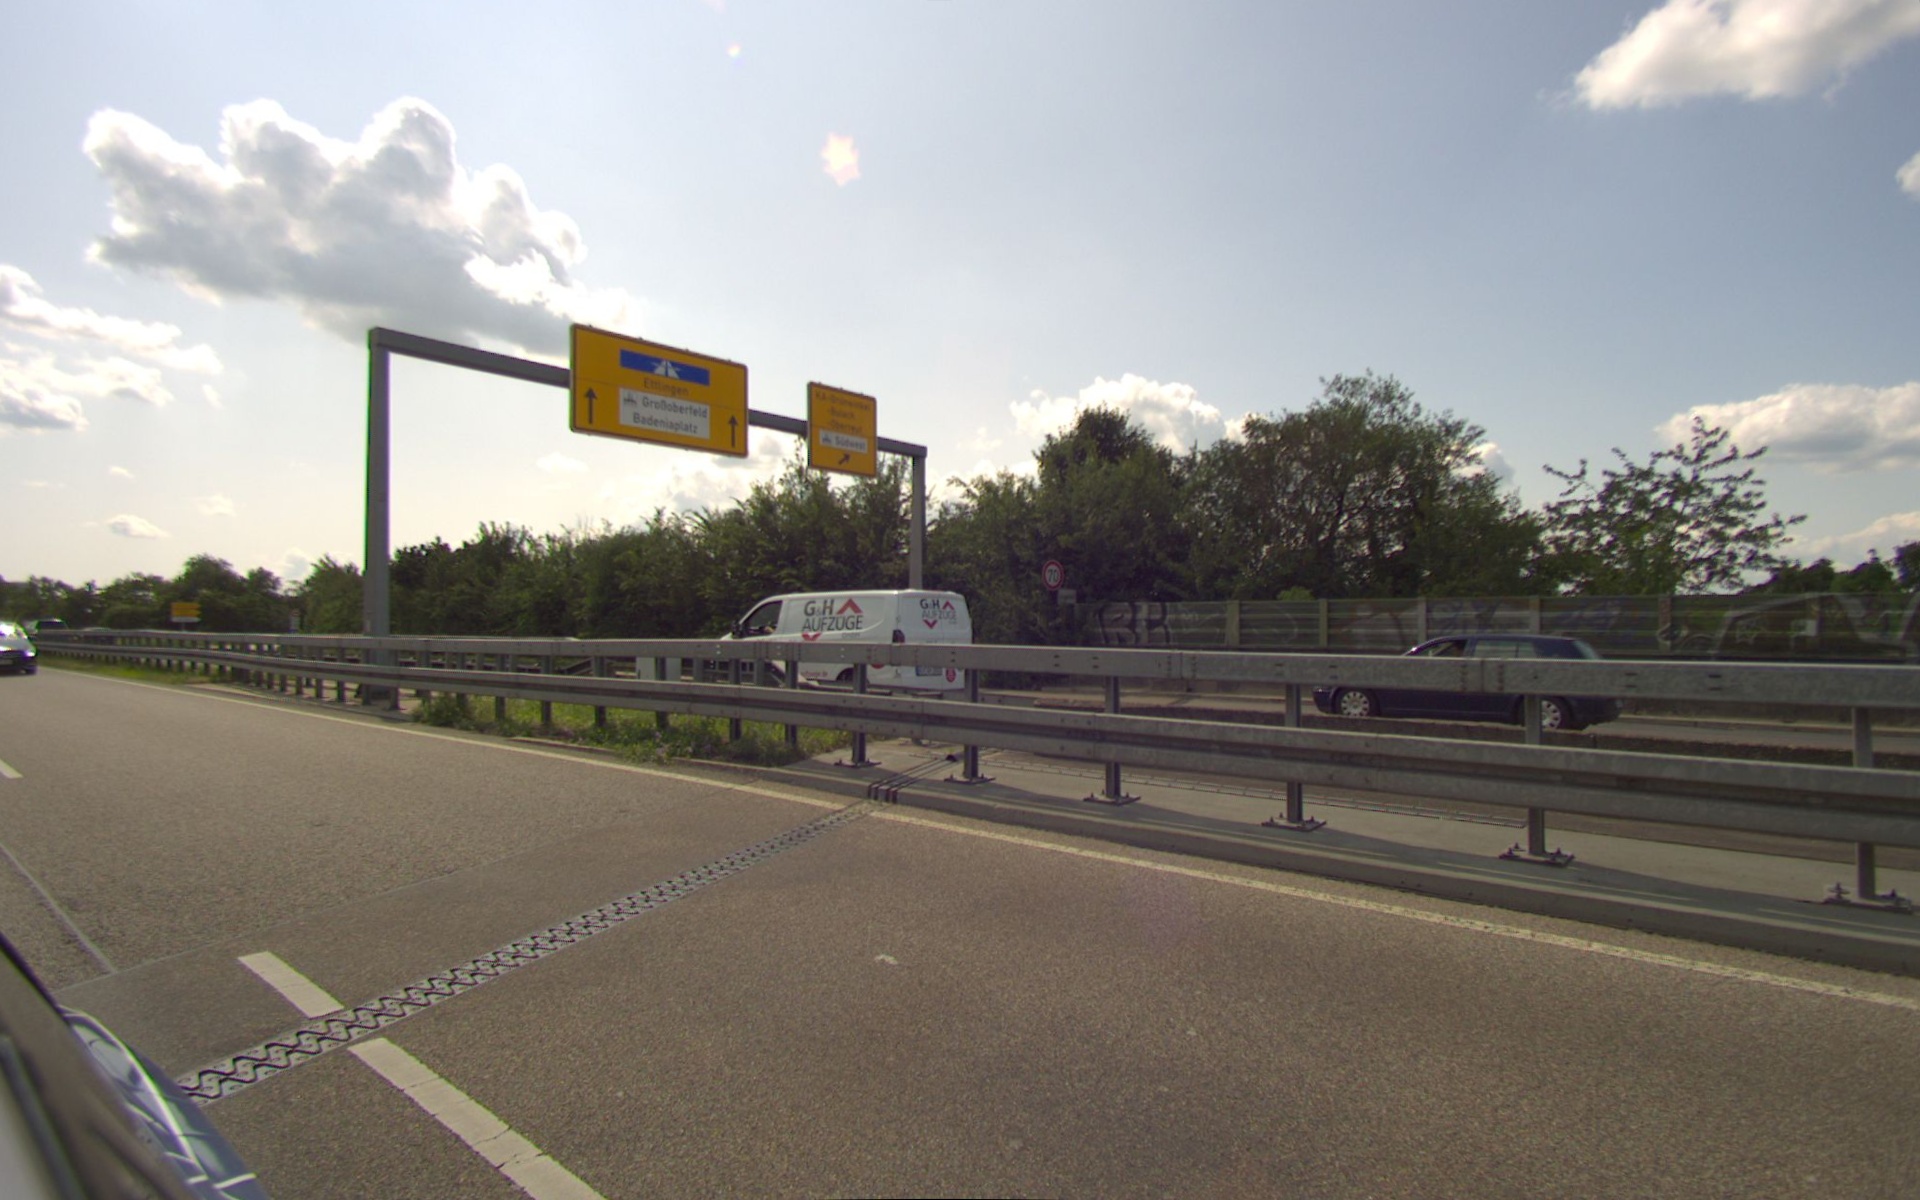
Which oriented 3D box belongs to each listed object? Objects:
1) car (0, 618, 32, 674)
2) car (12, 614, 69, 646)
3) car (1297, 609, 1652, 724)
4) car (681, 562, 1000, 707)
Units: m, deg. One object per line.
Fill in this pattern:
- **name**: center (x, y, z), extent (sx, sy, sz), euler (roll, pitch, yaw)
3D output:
- **car**: center (-28.745, 1.325, 29.772), extent (4.591, 1.539, 1.693), euler (-1, 0, 42)
- **car**: center (-57.070, 1.800, 62.800), extent (5.389, 1.877, 1.973), euler (-1, 0, 41)
- **car**: center (7.394, 0.893, 14.799), extent (4.397, 1.442, 1.672), euler (-1, -3, 39)
- **car**: center (-2.069, 0.557, 16.436), extent (5.224, 2.004, 2.058), euler (0, -4, 40)
